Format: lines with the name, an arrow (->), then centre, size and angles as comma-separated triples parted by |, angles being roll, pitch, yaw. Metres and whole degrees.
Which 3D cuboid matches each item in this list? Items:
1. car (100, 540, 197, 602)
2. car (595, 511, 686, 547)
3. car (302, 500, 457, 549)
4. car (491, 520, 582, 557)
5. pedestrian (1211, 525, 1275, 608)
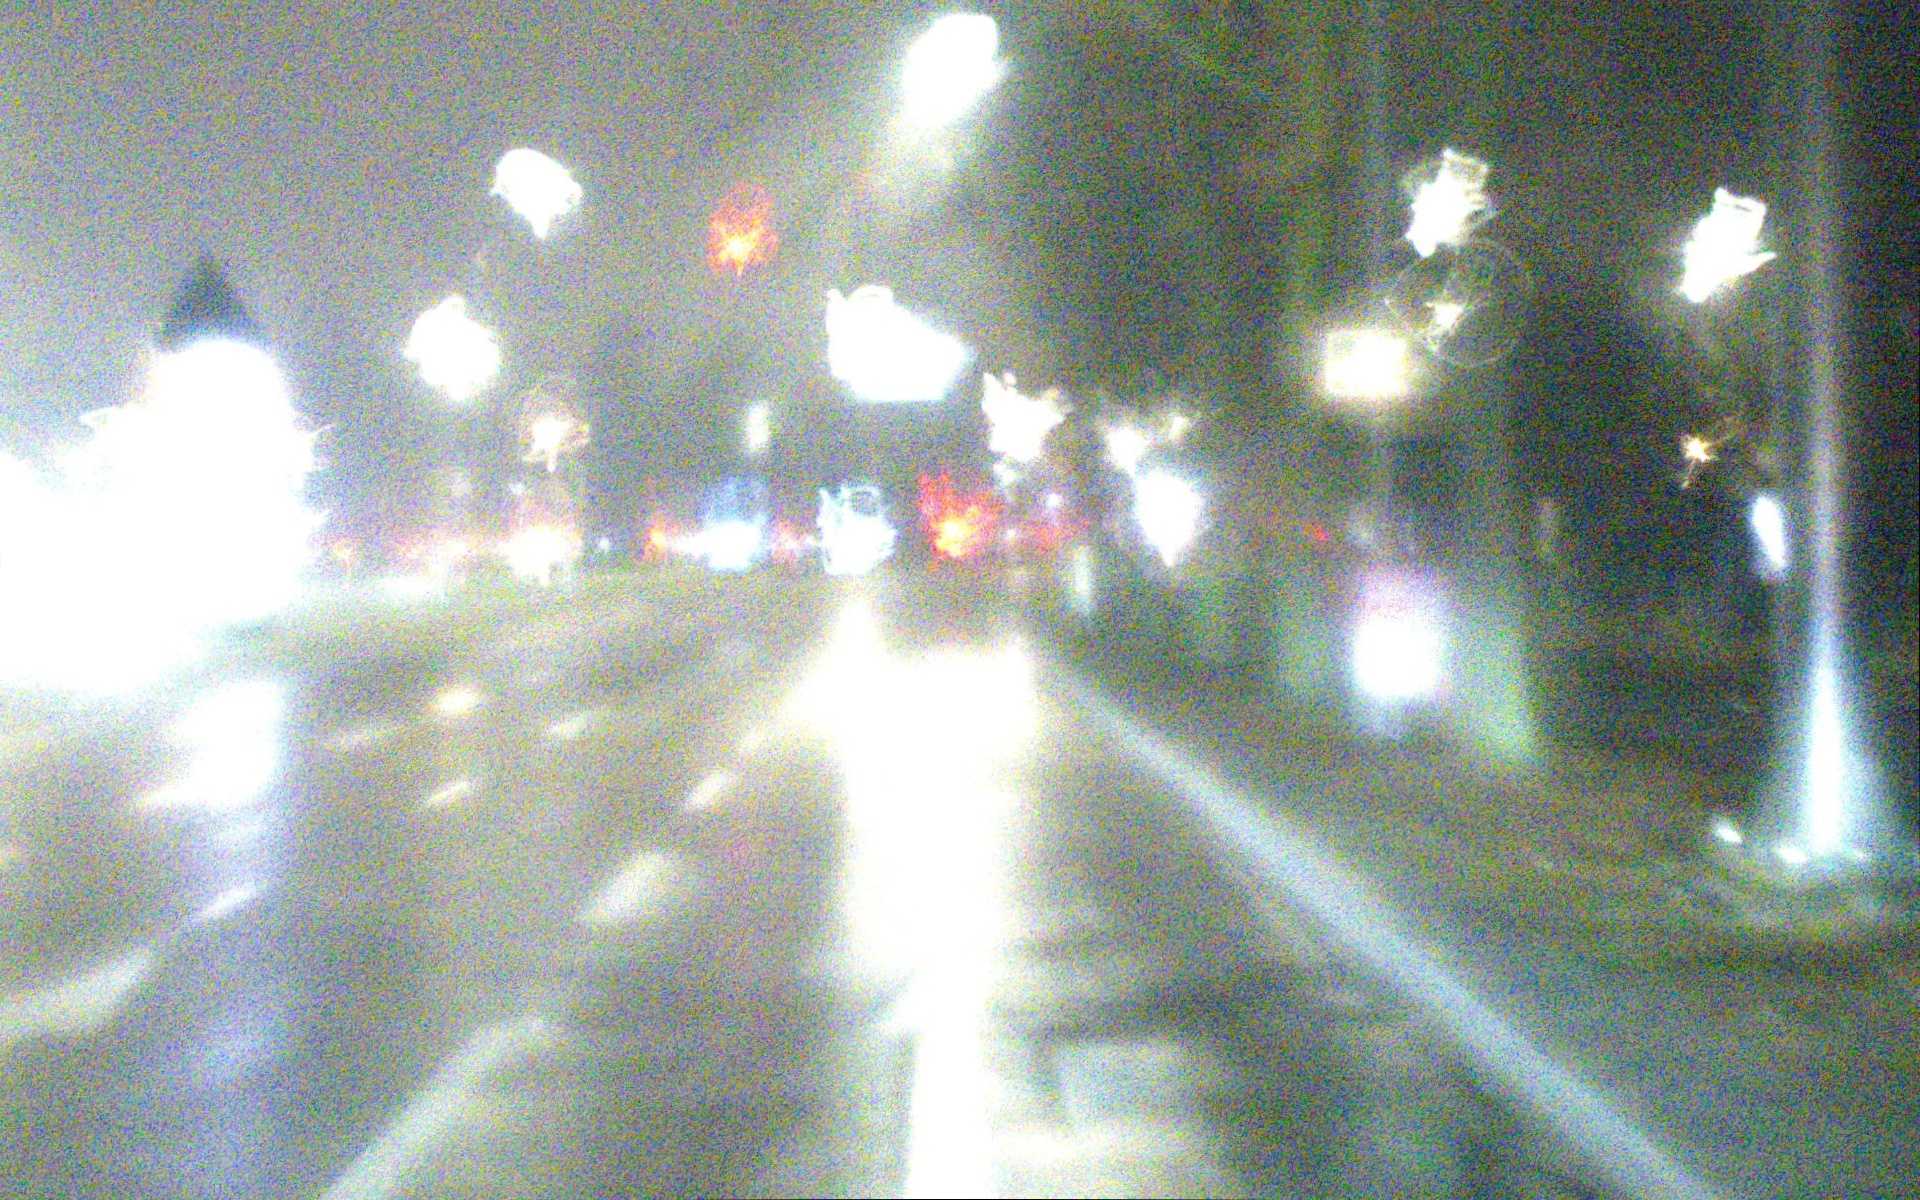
car -> -20.141, -0.732, 85.214 | 1.828, 1.459, 4.001 | 0, 2, -21
car -> -14.181, -3.157, 152.737 | 3.951, 1.573, 1.737 | 0, 1, -3
car -> -25.513, -3.316, 151.203 | 6.292, 2.082, 2.516 | 0, 1, -25
car -> -18.885, -2.727, 153.166 | 3.986, 1.610, 1.837 | 0, 1, -7
pedestrian -> 6.151, -0.737, 74.828 | 1.227, 1.787, 1.490 | 0, 1, -1
